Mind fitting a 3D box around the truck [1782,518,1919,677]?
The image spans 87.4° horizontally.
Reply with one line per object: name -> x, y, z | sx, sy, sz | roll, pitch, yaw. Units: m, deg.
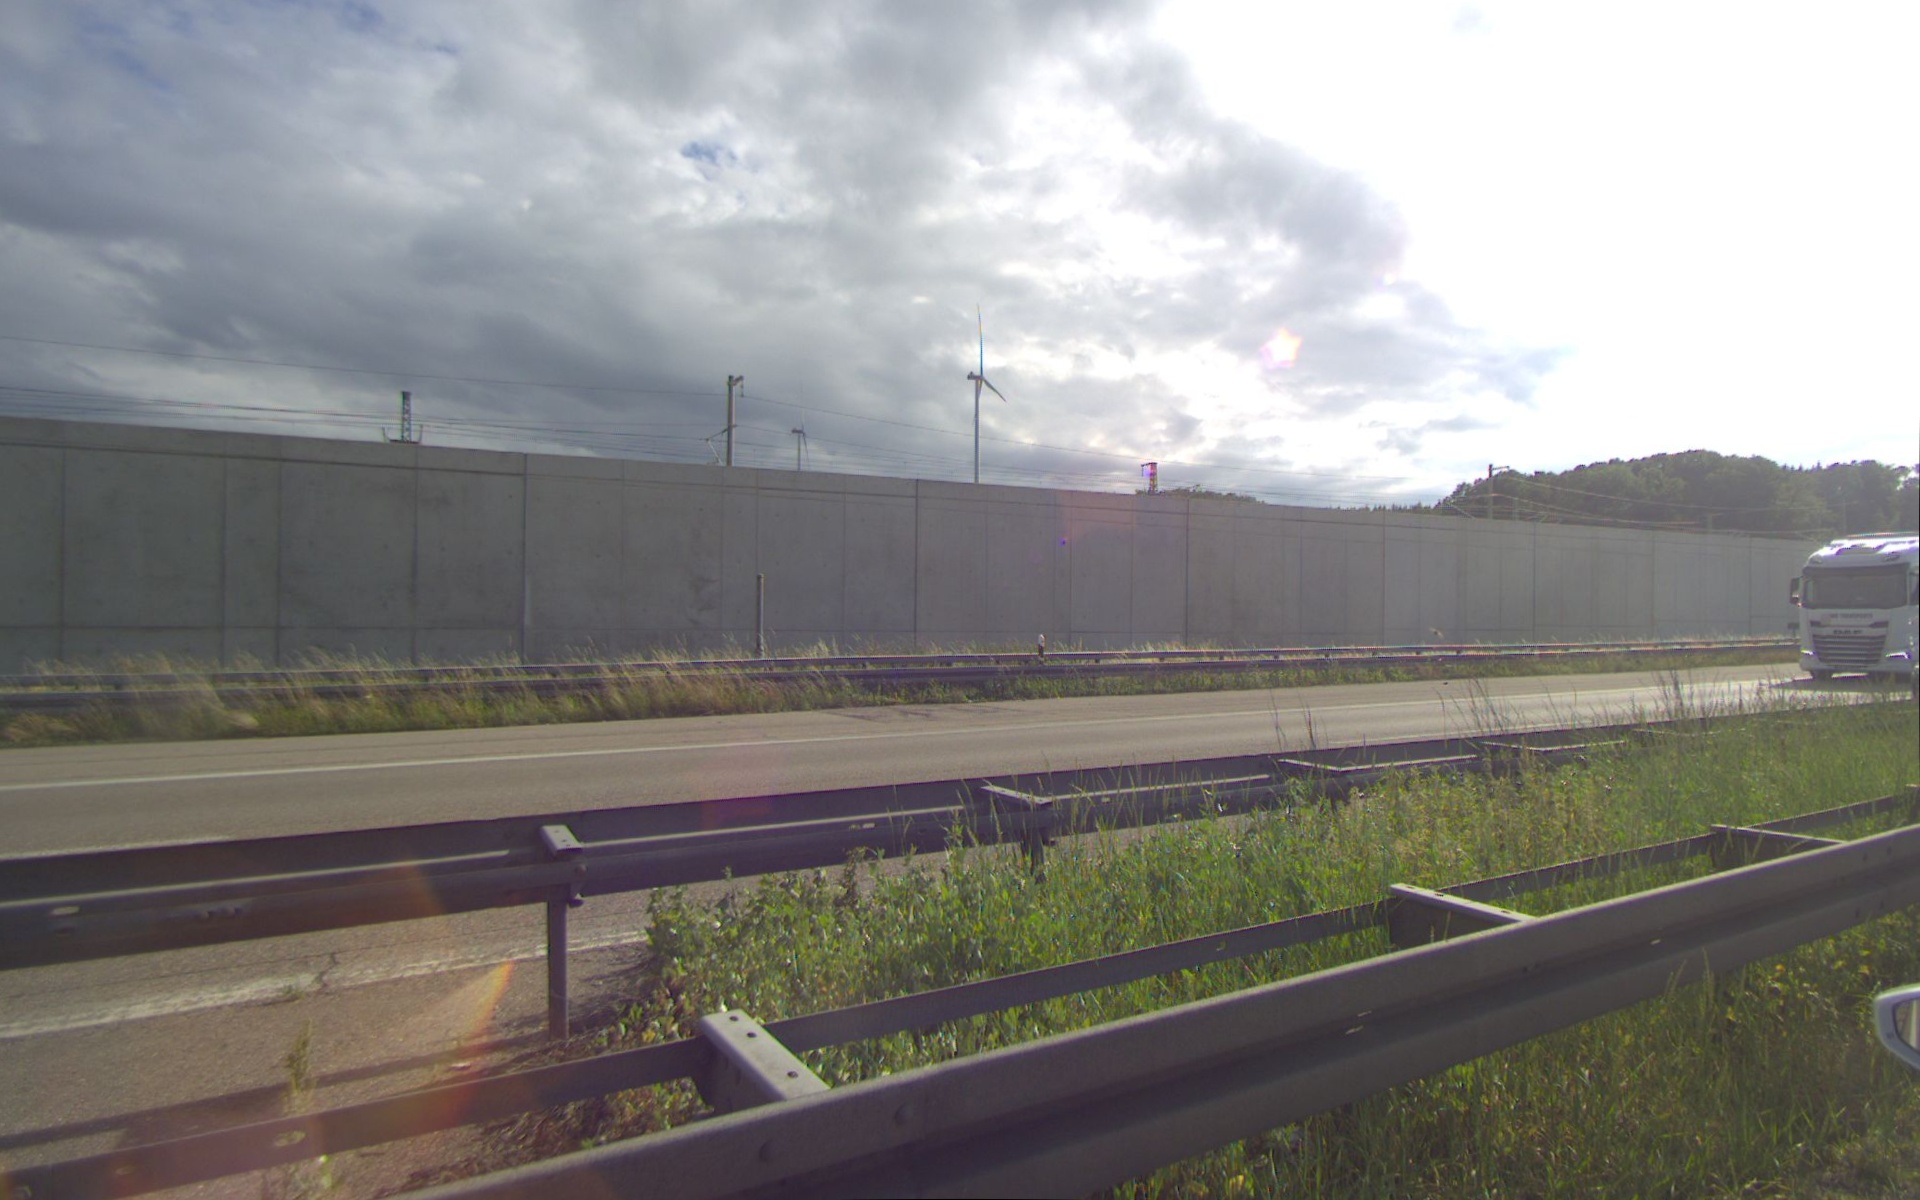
truck -> 26.500, 0.007, 28.844 | 5.811, 4.122, 2.672 | 1, -1, -31

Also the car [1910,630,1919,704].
car -> 20.633, 1.329, 19.942 | 3.852, 1.419, 1.625 | 1, -1, -31

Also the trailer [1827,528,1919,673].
trailer -> 32.431, 0.142, 32.401 | 13.633, 4.091, 2.670 | 1, -1, -31
